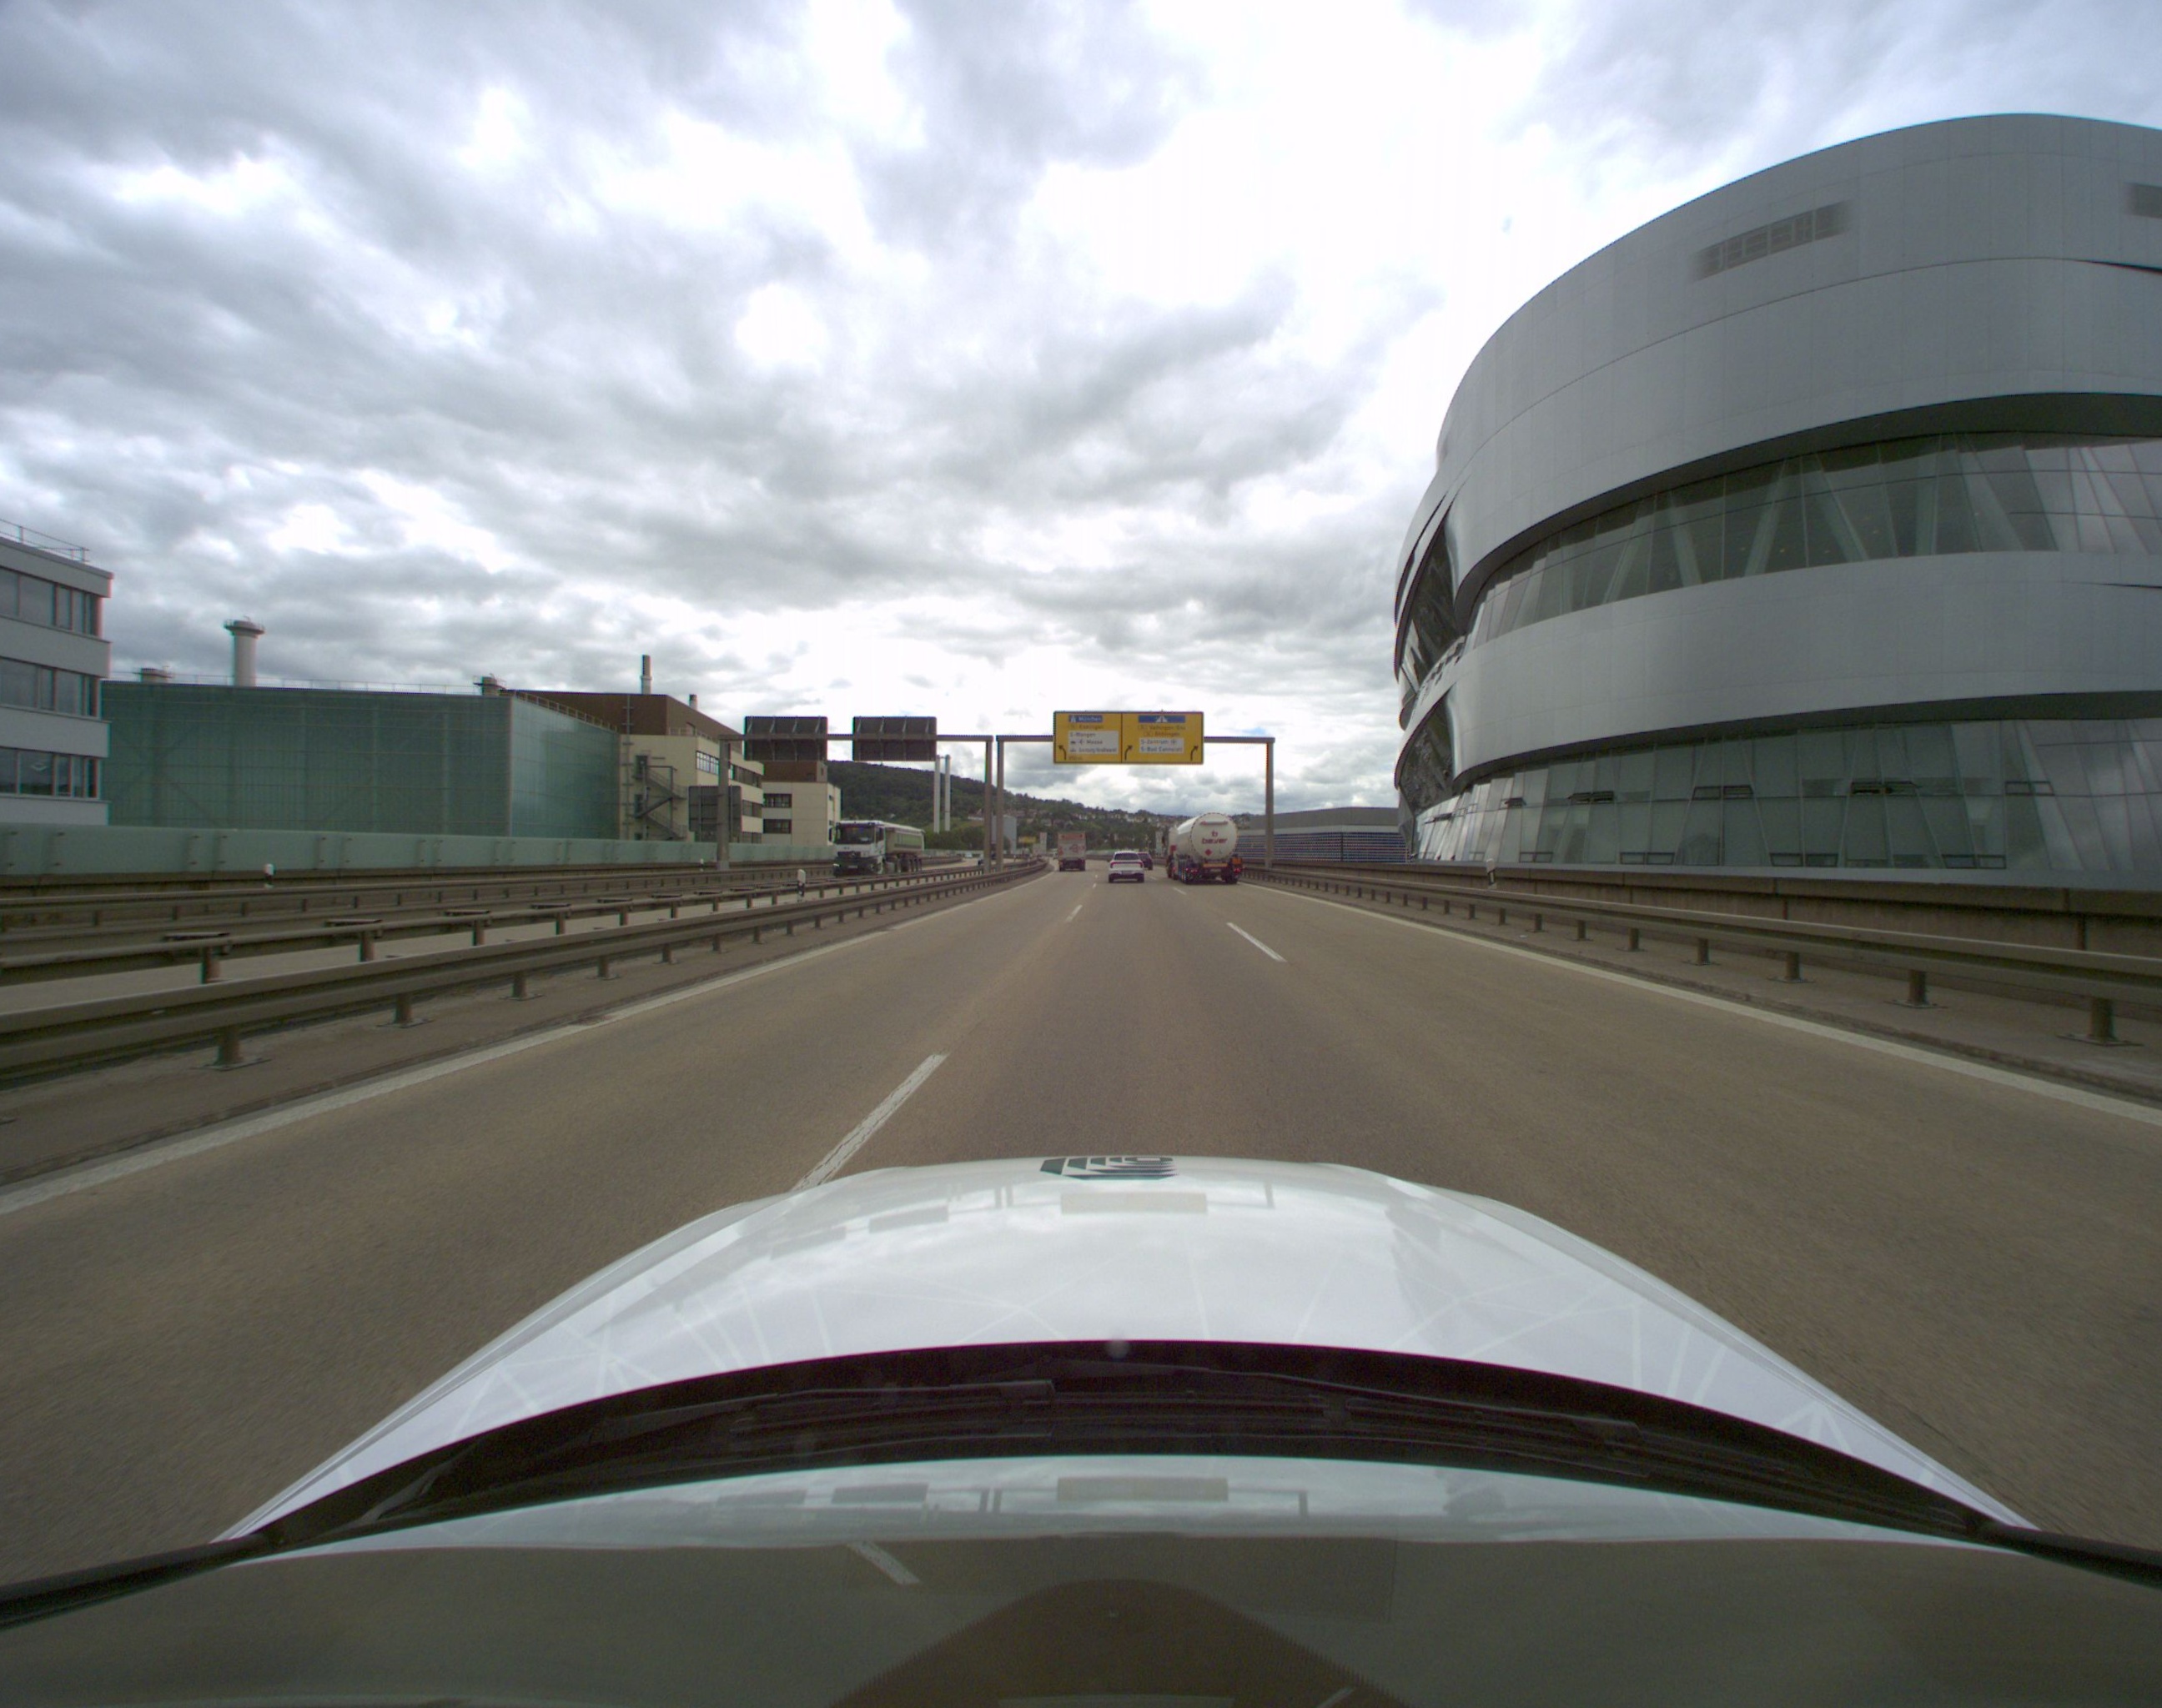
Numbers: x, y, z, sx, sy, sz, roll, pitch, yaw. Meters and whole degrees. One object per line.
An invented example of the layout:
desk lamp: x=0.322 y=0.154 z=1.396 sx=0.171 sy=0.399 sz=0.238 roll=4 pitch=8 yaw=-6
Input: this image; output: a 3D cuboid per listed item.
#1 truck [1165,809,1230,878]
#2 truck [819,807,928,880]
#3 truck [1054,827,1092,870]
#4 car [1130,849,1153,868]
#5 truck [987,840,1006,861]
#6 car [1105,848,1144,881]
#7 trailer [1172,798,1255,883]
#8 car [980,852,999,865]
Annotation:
truck: x=6.606 y=-0.530 z=47.070 sx=3.003 sy=3.657 sz=6.275 roll=-1 pitch=-1 yaw=2
truck: x=-11.996 y=-0.513 z=48.767 sx=3.046 sy=3.776 sz=12.520 roll=-1 pitch=0 yaw=1
truck: x=-0.682 y=-0.452 z=76.216 sx=3.045 sy=3.691 sz=8.309 roll=-1 pitch=-1 yaw=3
car: x=5.586 y=0.435 z=75.230 sx=1.986 sy=1.675 sz=4.410 roll=-1 pitch=-1 yaw=2
truck: x=-15.834 y=-0.577 z=153.217 sx=2.804 sy=3.809 sz=12.006 roll=-1 pitch=0 yaw=-3
car: x=2.319 y=0.550 z=43.919 sx=1.985 sy=1.675 sz=4.411 roll=-1 pitch=-1 yaw=3
trailer: x=6.471 y=-0.585 z=41.099 sx=3.045 sy=3.790 sz=8.307 roll=-1 pitch=-1 yaw=2
car: x=-12.240 y=0.668 z=109.318 sx=1.987 sy=1.675 sz=4.407 roll=-1 pitch=-1 yaw=0
